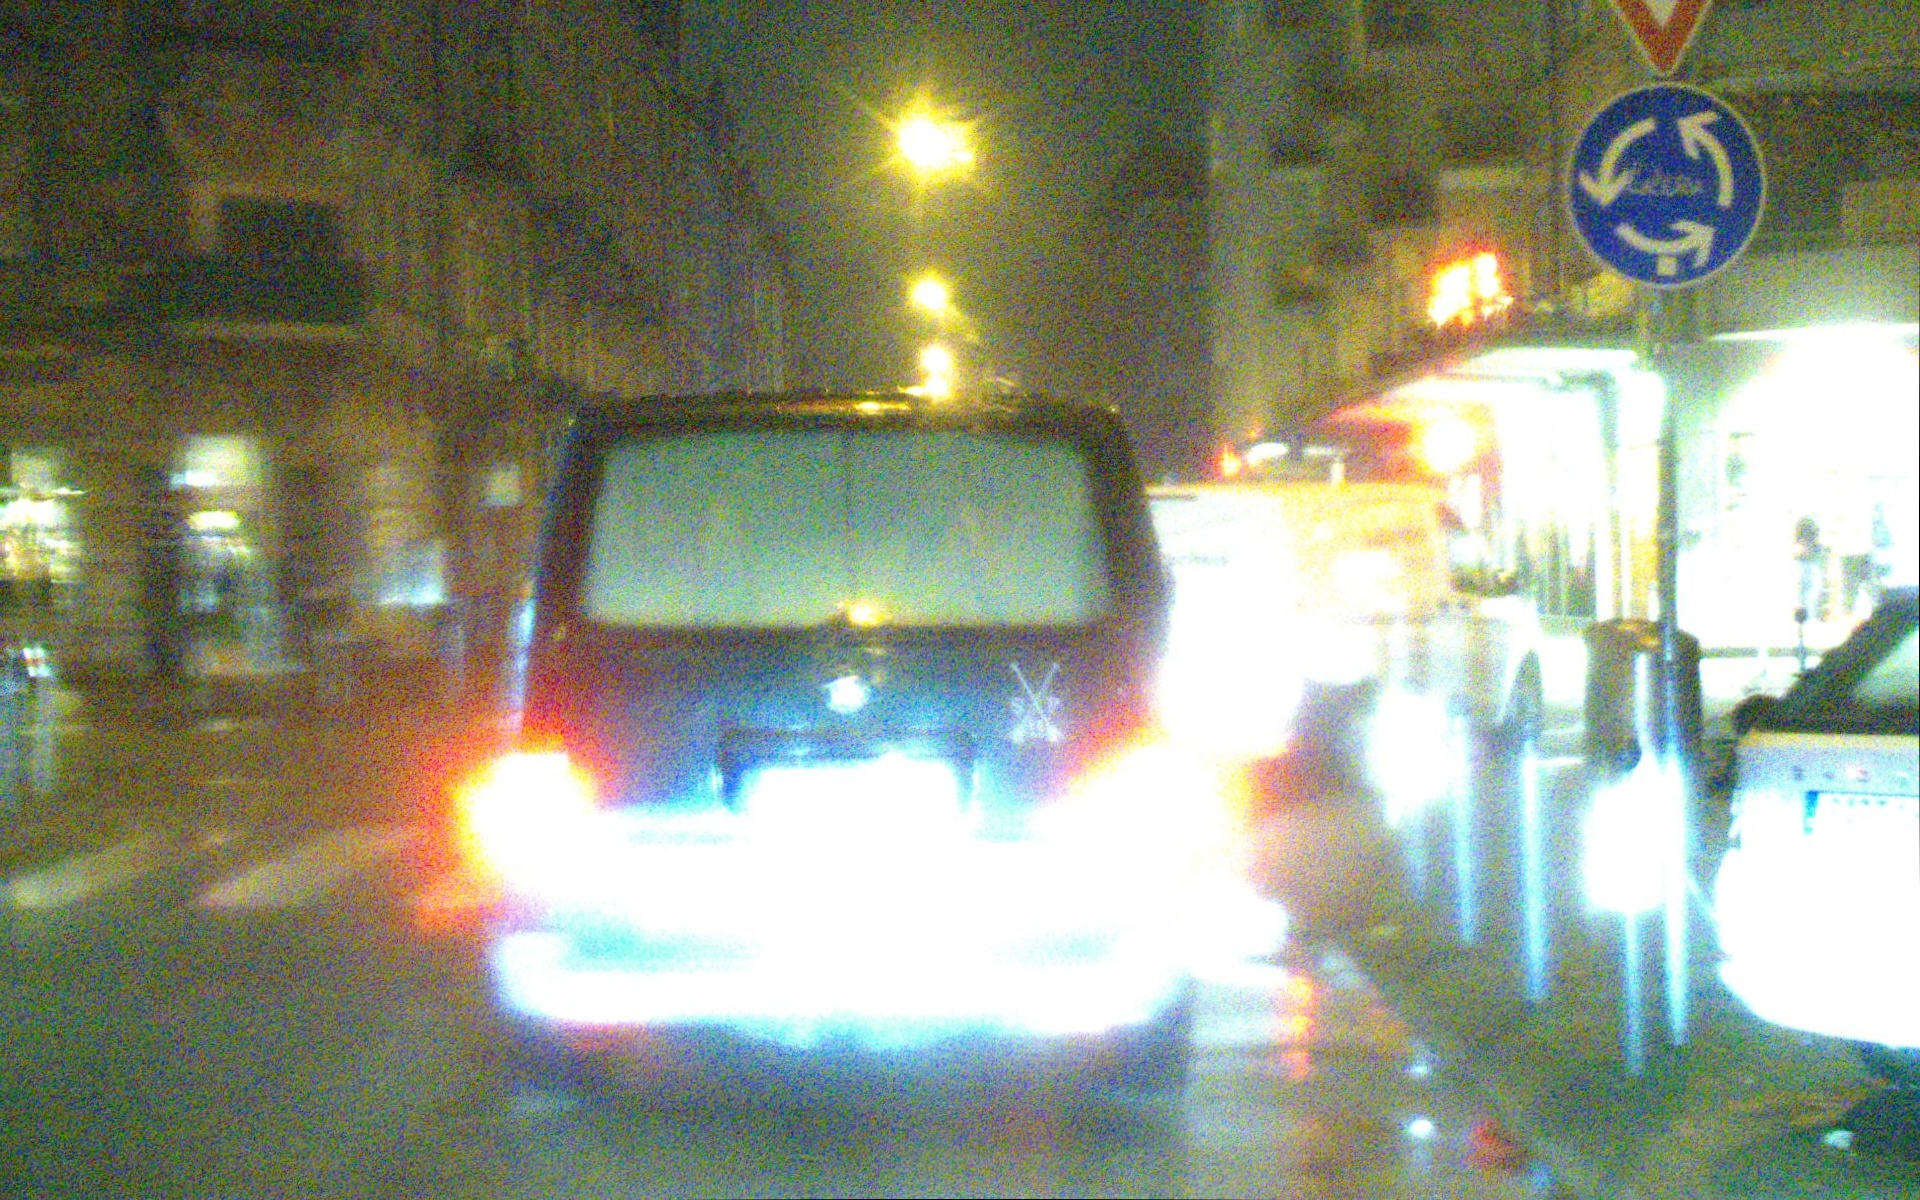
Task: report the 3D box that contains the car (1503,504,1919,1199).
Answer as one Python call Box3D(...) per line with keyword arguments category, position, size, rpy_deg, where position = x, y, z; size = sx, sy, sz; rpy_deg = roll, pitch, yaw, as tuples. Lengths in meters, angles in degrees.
Box3D(category="car", position=(3.695, 0.476, 8.924), size=(4.249, 1.568, 1.772), rpy_deg=(-3, 1, -28))

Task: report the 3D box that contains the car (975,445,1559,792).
Box3D(category="car", position=(2.073, 0.059, 21.594), size=(2.125, 1.916, 4.819), rpy_deg=(0, 1, 25))

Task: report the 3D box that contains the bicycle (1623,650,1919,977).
Box3D(category="bicycle", position=(2.989, 0.689, 11.286), size=(1.645, 1.023, 0.335), rpy_deg=(-1, 2, 44))

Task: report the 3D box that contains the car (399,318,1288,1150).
Box3D(category="car", position=(-0.281, 0.295, 10.582), size=(2.122, 1.984, 4.601), rpy_deg=(-1, 1, 0))

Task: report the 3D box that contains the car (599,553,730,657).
Box3D(category="car", position=(-4.461, 0.043, 52.304), size=(1.586, 1.458, 4.024), rpy_deg=(2, 1, 0))

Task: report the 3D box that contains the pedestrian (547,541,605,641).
Box3D(category="pedestrian", position=(-6.818, -0.157, 61.088), size=(0.804, 1.760, 1.015), rpy_deg=(1, 0, 6))
